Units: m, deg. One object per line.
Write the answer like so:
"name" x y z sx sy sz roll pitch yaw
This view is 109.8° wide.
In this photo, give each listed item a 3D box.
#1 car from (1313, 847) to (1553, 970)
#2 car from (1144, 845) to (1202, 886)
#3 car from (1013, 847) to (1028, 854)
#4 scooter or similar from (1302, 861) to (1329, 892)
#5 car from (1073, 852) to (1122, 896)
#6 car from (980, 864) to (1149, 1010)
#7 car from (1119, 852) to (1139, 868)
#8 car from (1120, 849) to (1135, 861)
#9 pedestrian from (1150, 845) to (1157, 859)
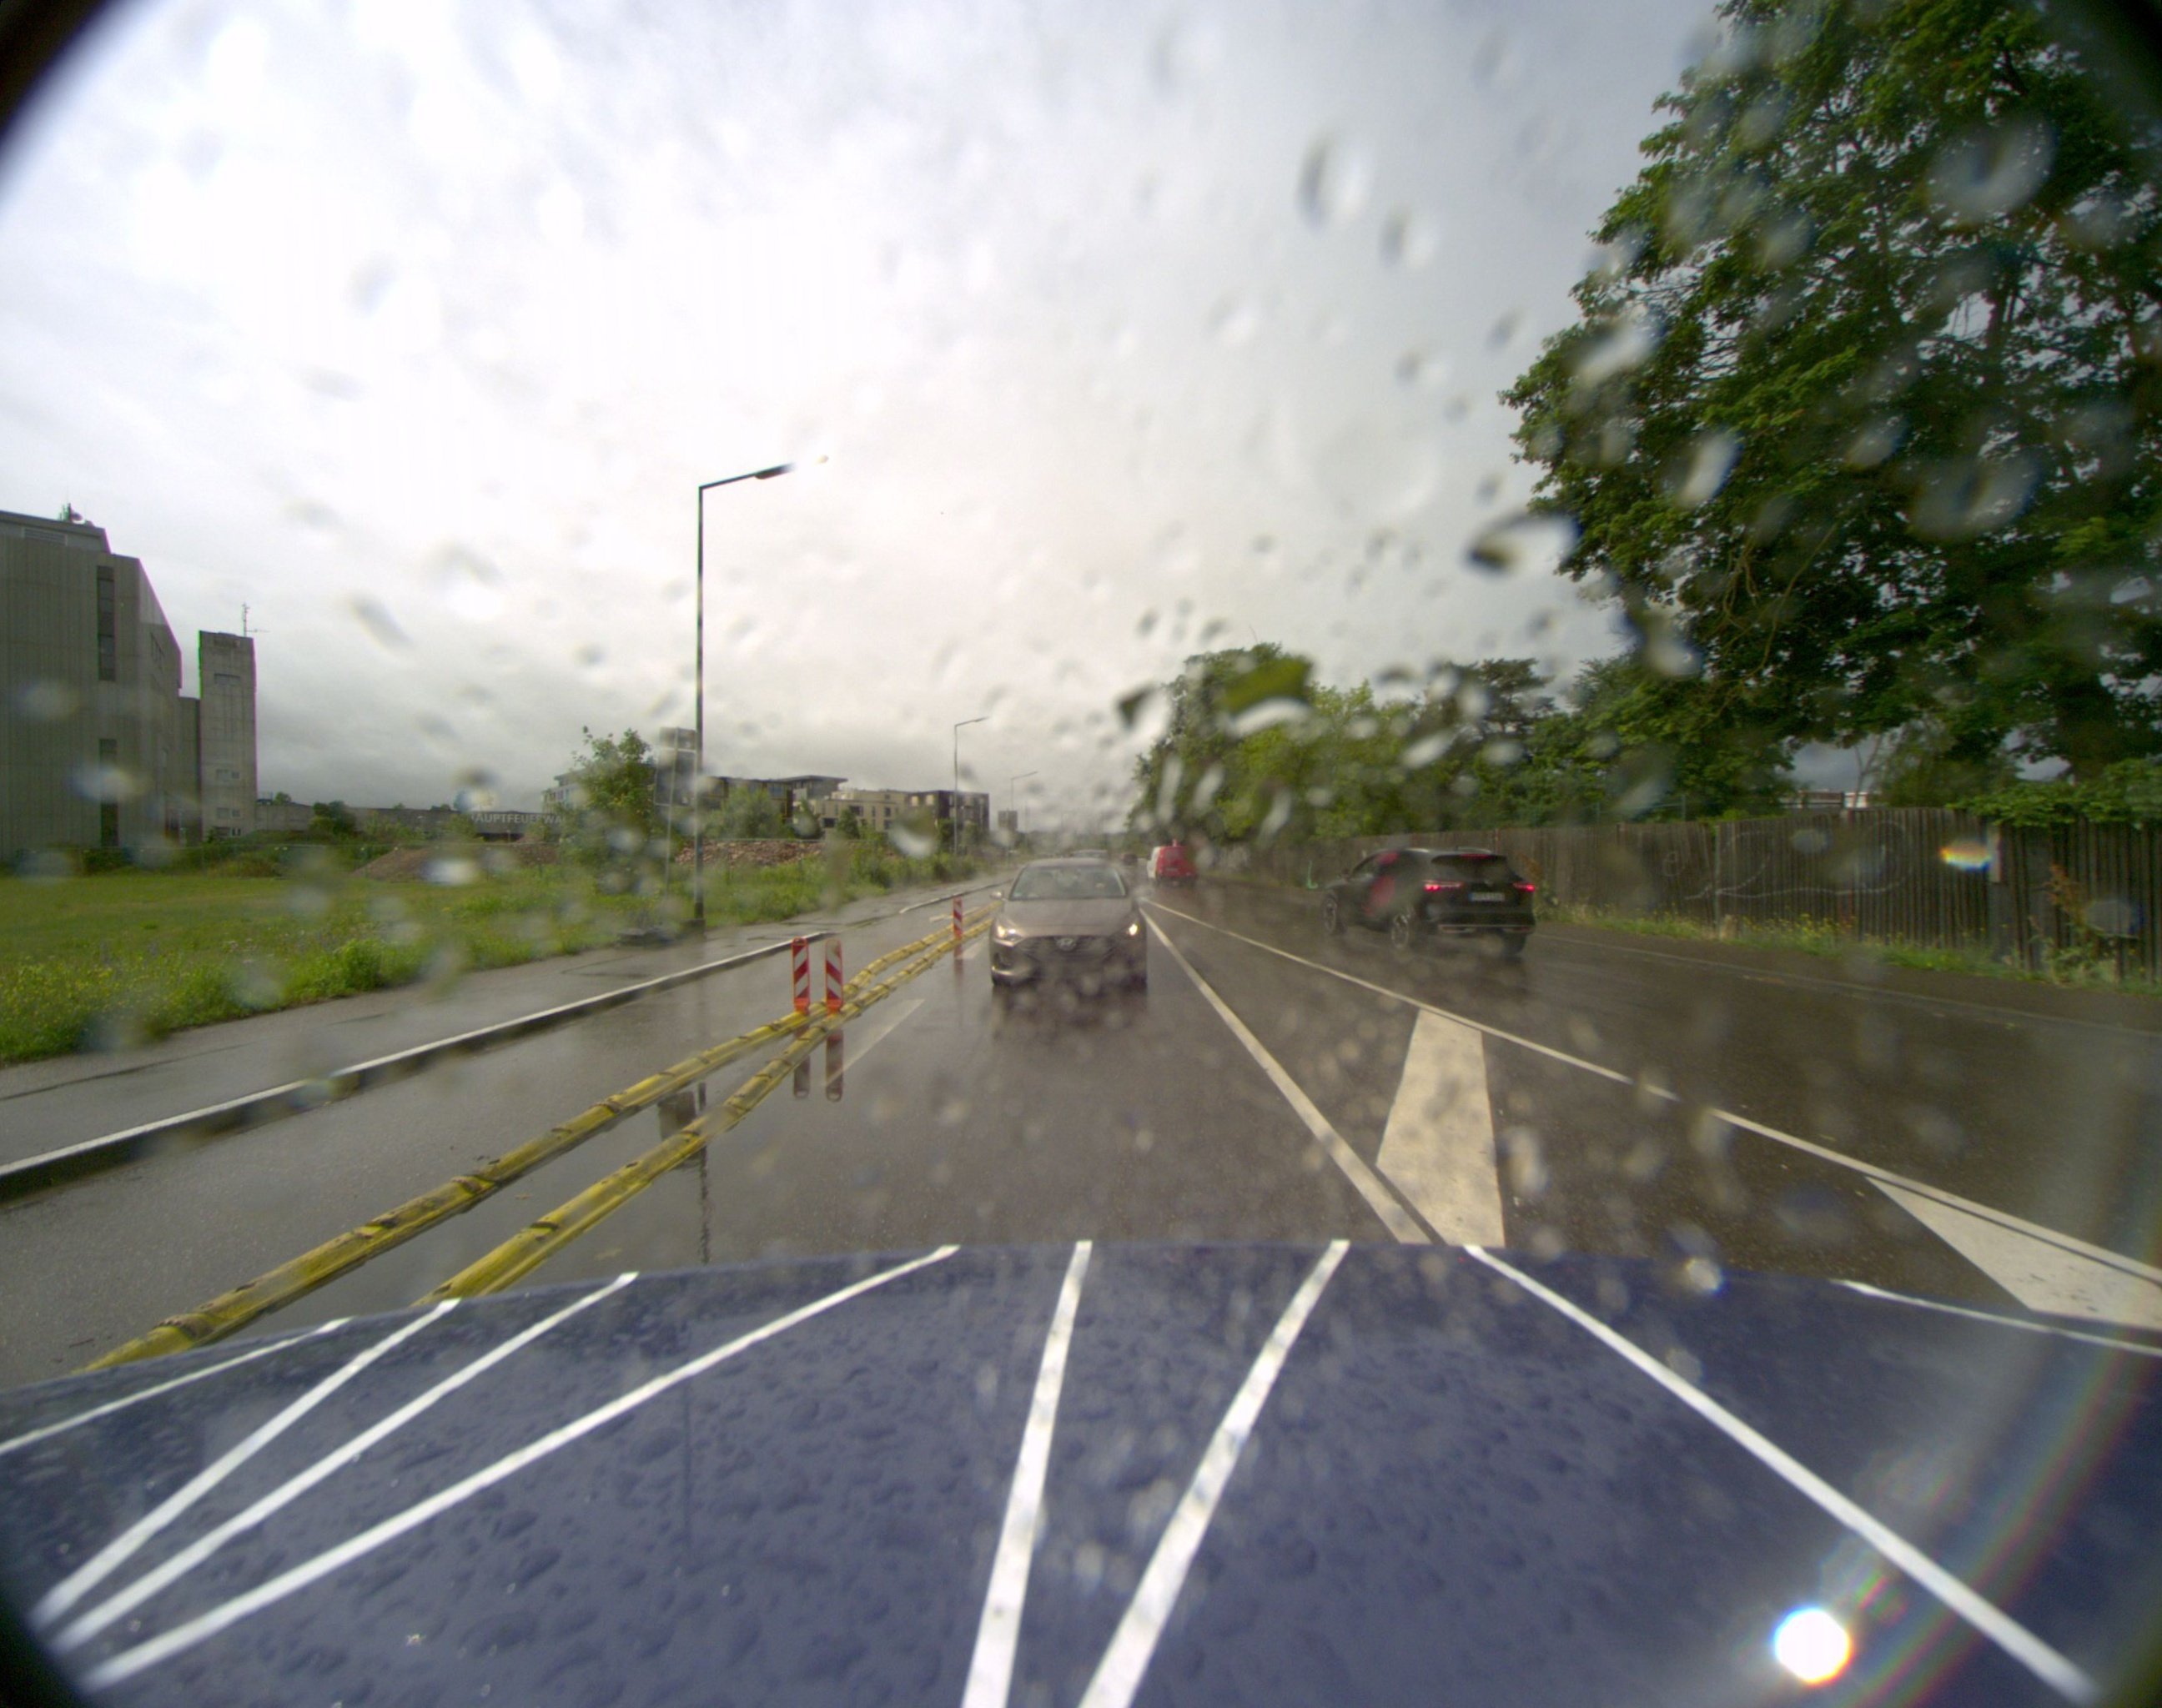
"car" 5.431 0.743 12.399 1.739 1.654 4.107 1 0 -4
"car" 4.394 0.492 37.160 1.893 1.865 5.130 1 0 -4
"car" -17.237 -1.088 217.360 4.008 2.002 1.994 -1 1 -43
"scooter or similar" 8.964 0.846 29.061 0.564 1.156 1.207 0 1 -6
"car" 0.590 0.722 29.089 1.734 1.539 3.770 -1 0 0
"car" -0.201 0.881 9.775 1.724 1.423 3.817 -1 0 -1
"car" 4.749 0.603 75.713 1.879 1.474 4.177 0 1 2
"car" 6.644 0.126 107.341 1.784 1.543 4.428 3 0 7
"pedestrian" 9.327 -0.296 97.878 0.841 1.759 0.644 0 1 1
